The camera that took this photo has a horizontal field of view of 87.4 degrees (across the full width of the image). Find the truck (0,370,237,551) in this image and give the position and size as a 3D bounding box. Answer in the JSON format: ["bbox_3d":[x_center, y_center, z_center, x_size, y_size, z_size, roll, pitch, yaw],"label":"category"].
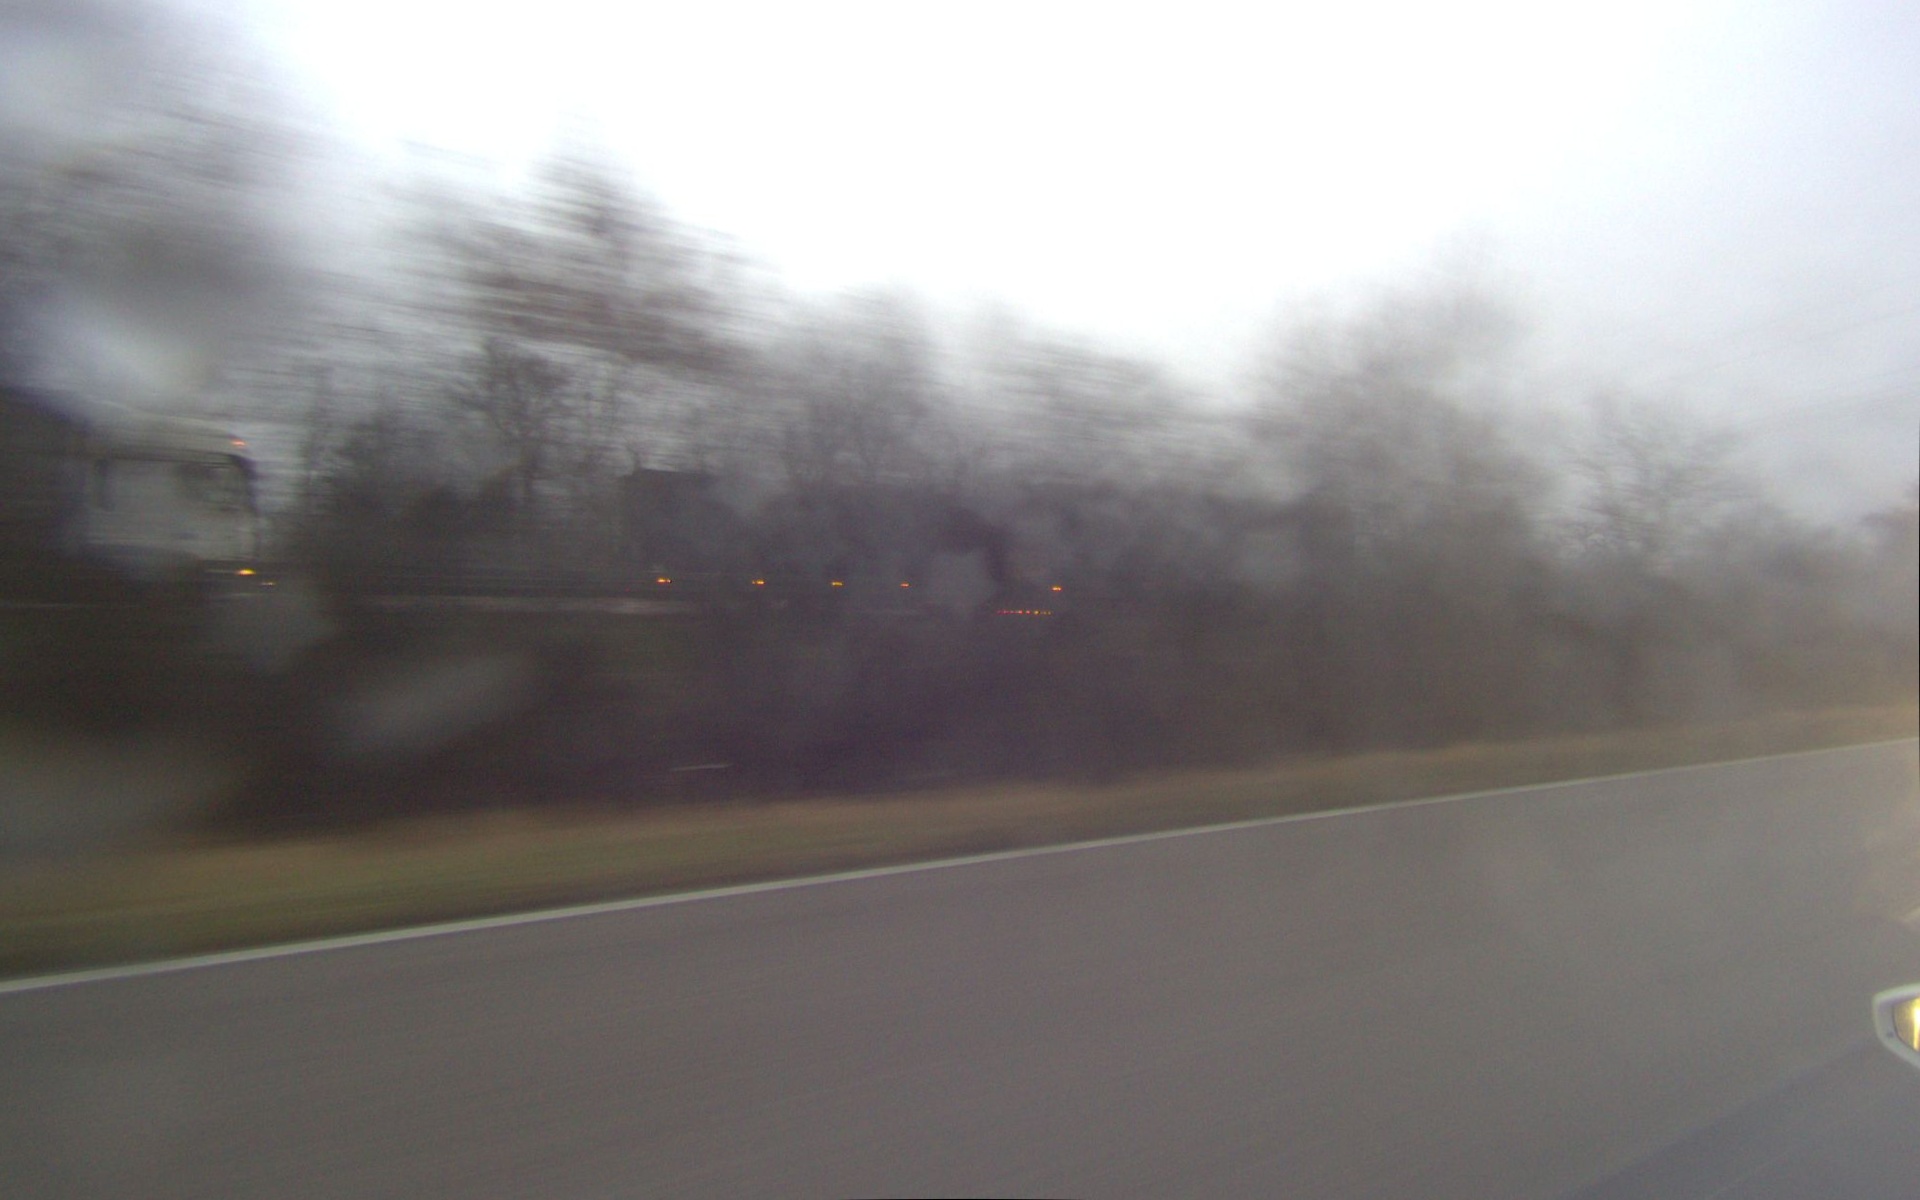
[{"bbox_3d":[-17.333,-2.607,19.104,5.519,2.925,2.438,2,-1,-31],"label":"truck"}]

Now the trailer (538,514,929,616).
[{"bbox_3d":[-6.535,-0.855,30.490,11.367,2.456,2.497,2,-2,-30],"label":"trailer"}]

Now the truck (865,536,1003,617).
[{"bbox_3d":[-0.886,-0.692,33.809,3.953,2.468,2.518,2,-2,-30],"label":"truck"}]

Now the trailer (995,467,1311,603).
[{"bbox_3d":[6.708,-1.882,33.569,11.256,3.682,2.983,2,-1,-31],"label":"trailer"}]
